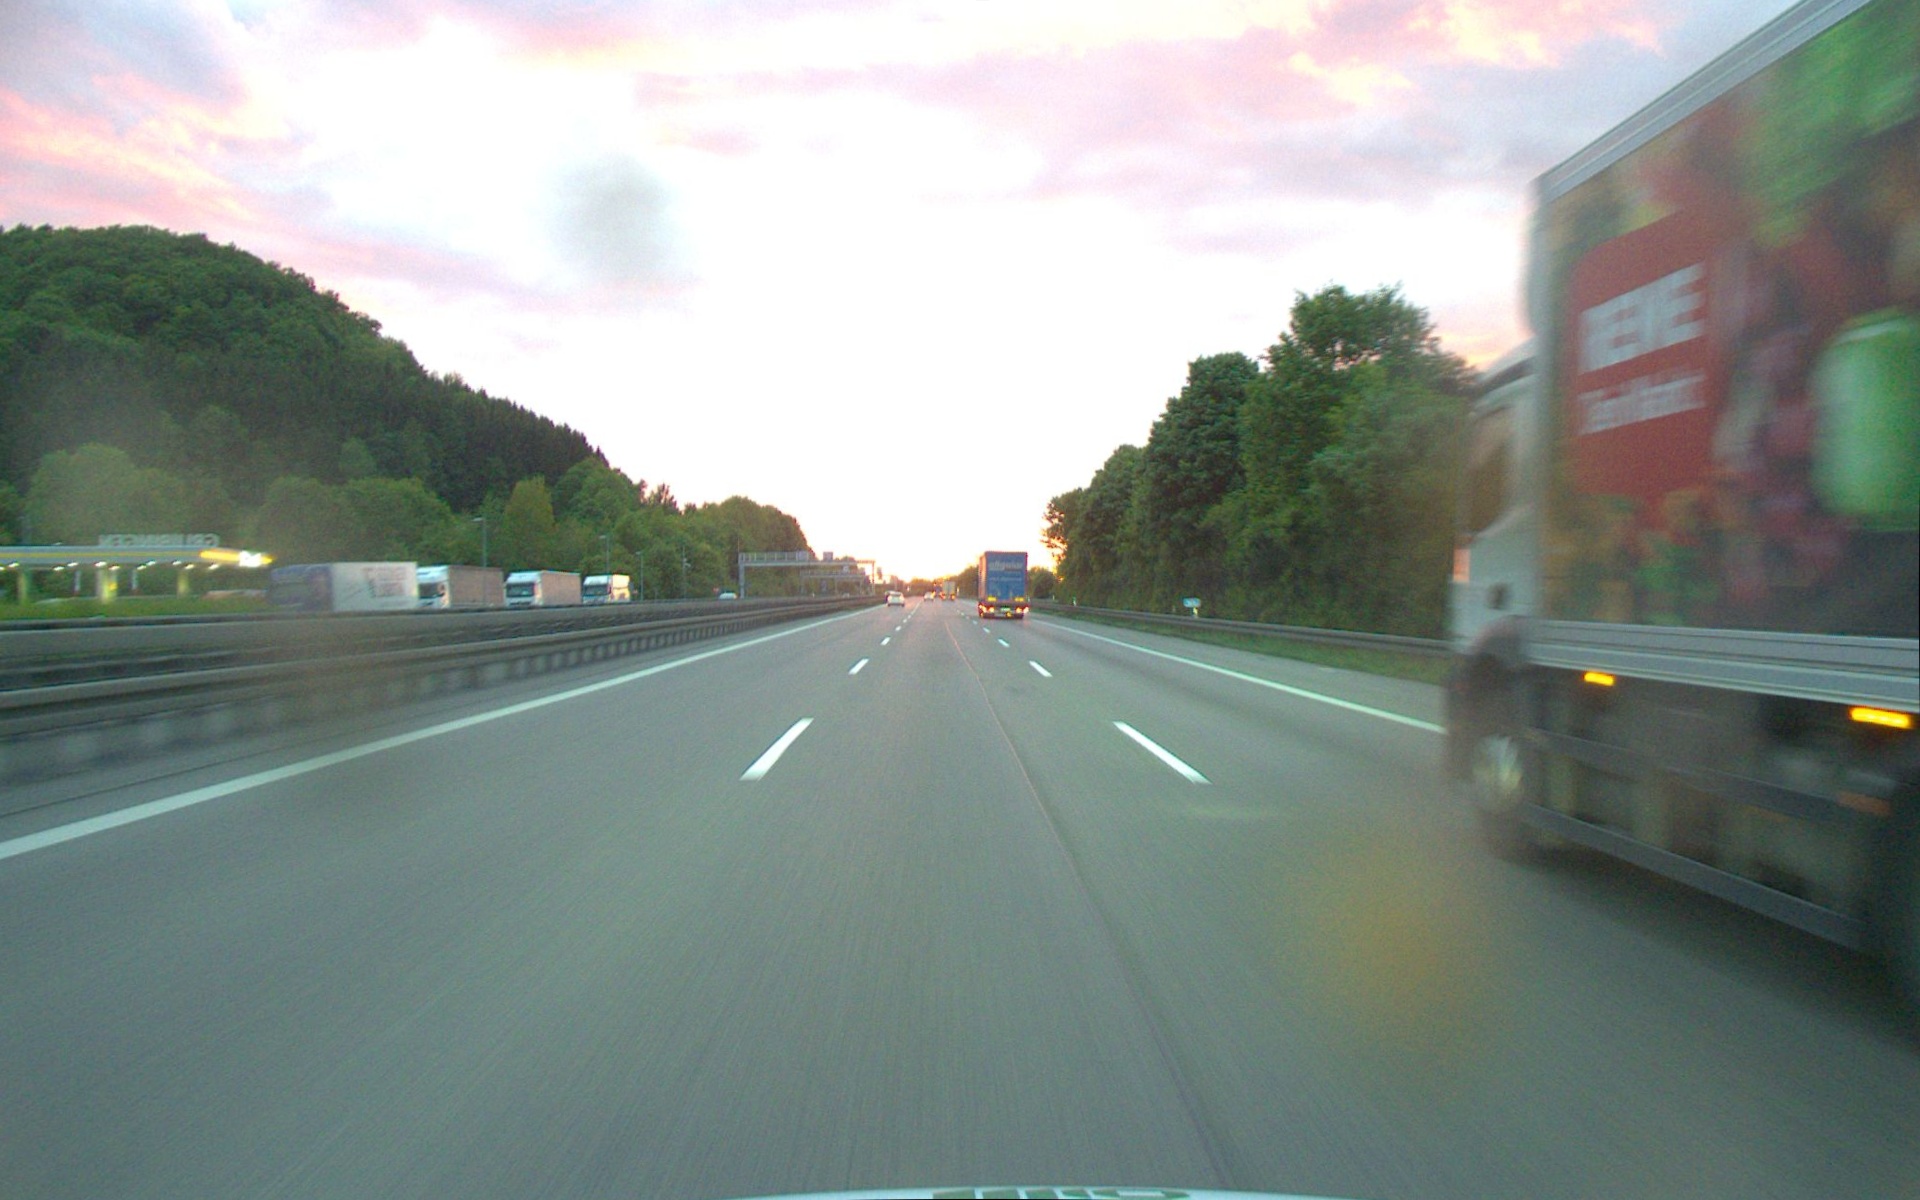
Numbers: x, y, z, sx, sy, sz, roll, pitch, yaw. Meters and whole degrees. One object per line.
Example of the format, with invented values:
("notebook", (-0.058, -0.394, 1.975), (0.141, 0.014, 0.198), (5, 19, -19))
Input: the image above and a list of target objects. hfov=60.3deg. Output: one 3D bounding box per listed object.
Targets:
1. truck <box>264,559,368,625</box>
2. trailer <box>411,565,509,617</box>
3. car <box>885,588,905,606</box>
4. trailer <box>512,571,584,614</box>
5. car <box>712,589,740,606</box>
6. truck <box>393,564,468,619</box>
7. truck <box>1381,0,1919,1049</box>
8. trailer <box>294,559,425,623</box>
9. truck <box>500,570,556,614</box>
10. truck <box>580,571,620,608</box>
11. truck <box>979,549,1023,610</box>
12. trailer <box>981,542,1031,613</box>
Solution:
("truck", (-34.999, -0.466, 90.176), (2.814, 3.434, 7.174), (0, 0, 0))
("trailer", (-35.025, -0.644, 116.570), (2.814, 3.484, 13.569), (0, 0, 0))
("car", (-6.829, -0.296, 174.227), (1.973, 1.780, 3.902), (-3, 0, -2))
("trailer", (-35.141, -0.679, 141.642), (2.815, 3.484, 13.849), (0, 0, 0))
("car", (-22.194, -0.264, 157.006), (1.953, 1.621, 4.740), (0, 0, -1))
("truck", (-35.001, -0.583, 109.622), (2.814, 3.484, 6.726), (0, 0, 0))
("truck", (4.388, -0.485, 6.663), (2.563, 3.894, 10.384), (0, 0, -1))
("trailer", (-34.970, -0.547, 97.017), (2.814, 3.484, 13.224), (0, 0, 0))
("truck", (-35.112, -0.630, 134.583), (2.814, 3.484, 6.726), (0, 0, 0))
("truck", (-34.549, -0.980, 158.856), (2.817, 3.484, 6.719), (0, 0, -5))
("truck", (2.733, -1.358, 112.709), (2.681, 4.066, 5.848), (1, 0, -1))
("trailer", (2.855, -1.342, 105.801), (2.715, 4.158, 13.738), (1, 0, 0))
